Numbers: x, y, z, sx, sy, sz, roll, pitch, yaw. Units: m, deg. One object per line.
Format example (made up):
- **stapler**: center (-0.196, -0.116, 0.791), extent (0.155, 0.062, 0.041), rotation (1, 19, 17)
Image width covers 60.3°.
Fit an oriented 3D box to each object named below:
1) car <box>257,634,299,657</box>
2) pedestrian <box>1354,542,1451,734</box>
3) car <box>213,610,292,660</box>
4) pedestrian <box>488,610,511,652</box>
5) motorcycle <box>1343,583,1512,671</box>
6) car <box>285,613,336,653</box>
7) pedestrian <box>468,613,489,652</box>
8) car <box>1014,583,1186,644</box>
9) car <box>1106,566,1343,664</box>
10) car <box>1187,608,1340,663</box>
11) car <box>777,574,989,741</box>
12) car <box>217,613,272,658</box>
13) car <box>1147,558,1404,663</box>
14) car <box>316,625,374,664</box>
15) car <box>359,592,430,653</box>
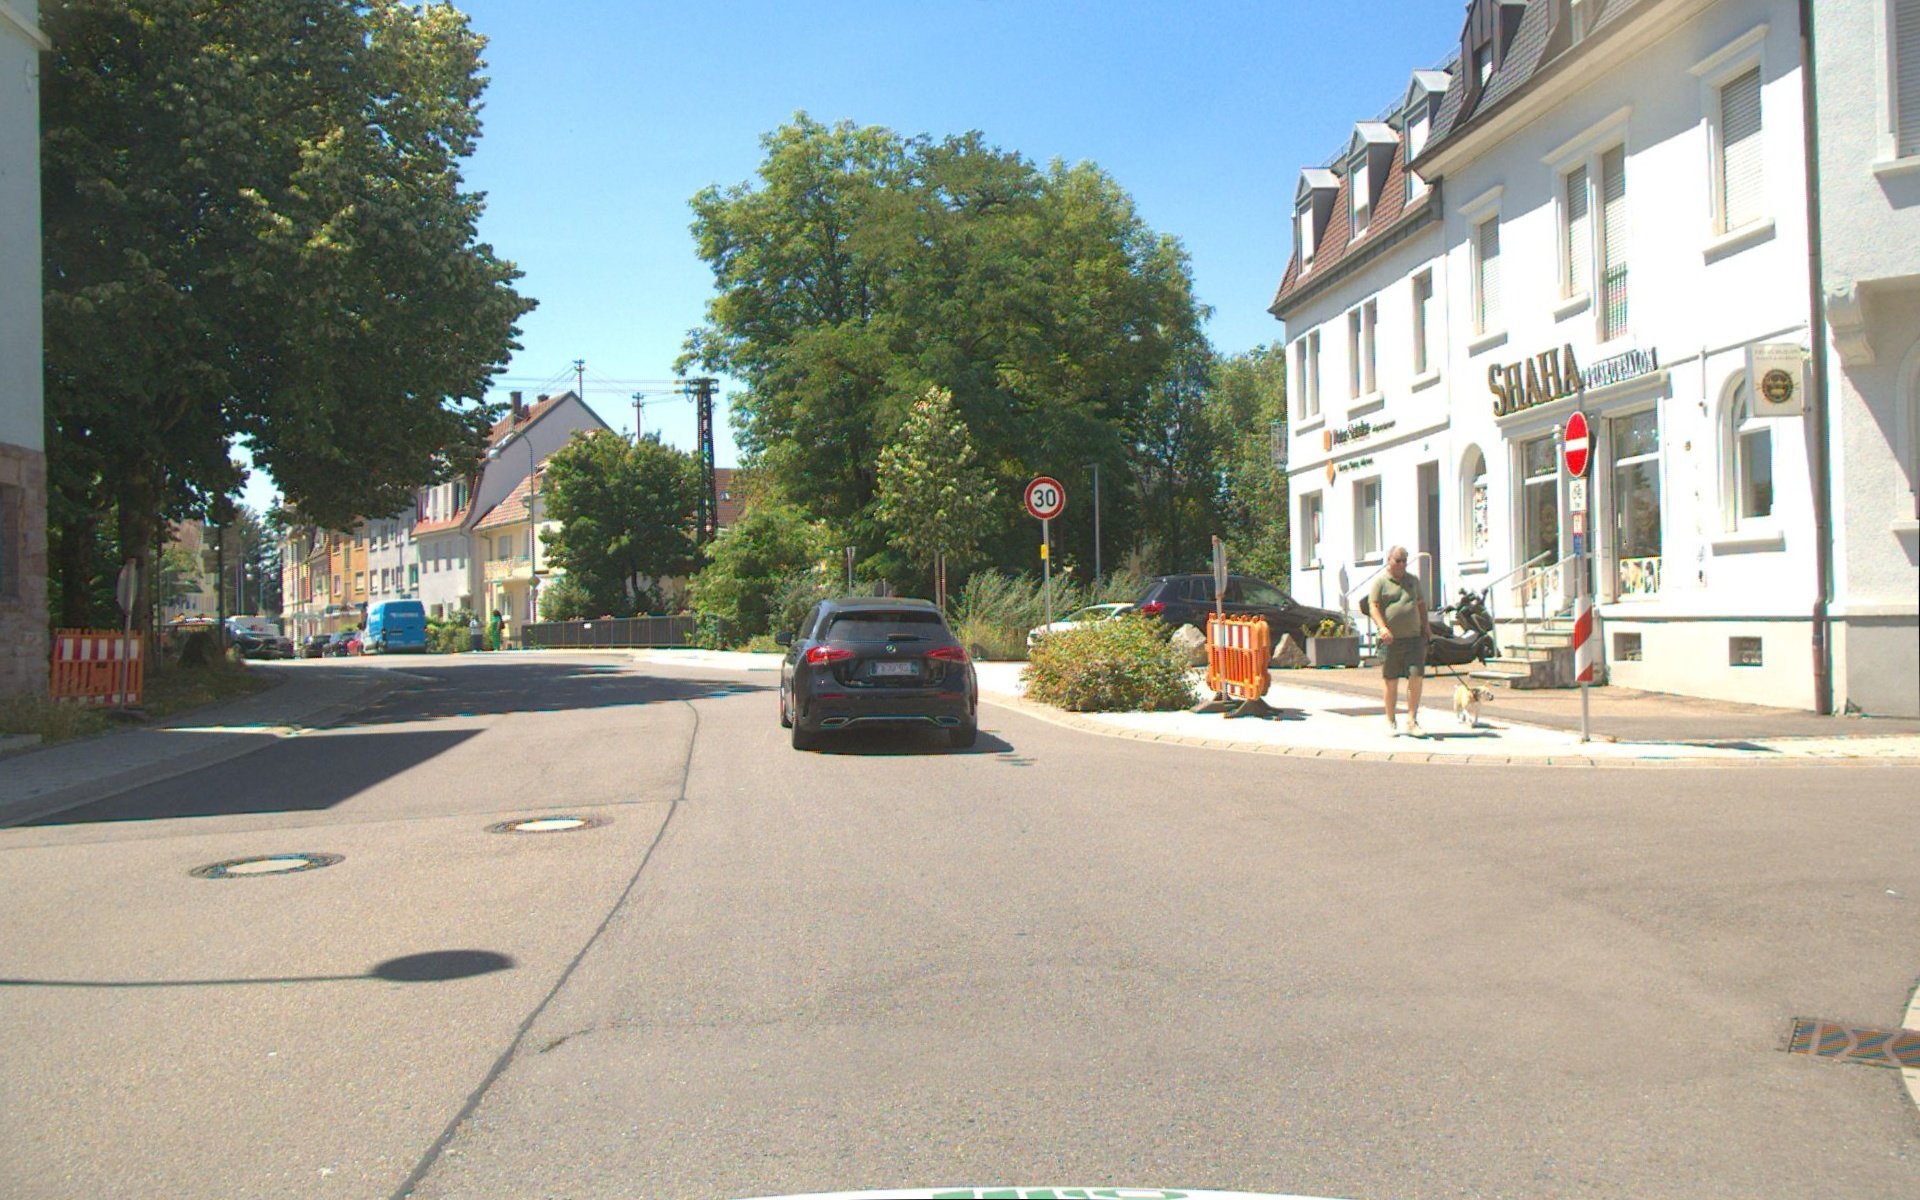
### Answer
- **car**: center (-44.854, 2.997, 108.724), extent (1.973, 1.416, 4.283), rotation (0, 0, -31)
- **pedestrian**: center (4.335, 0.354, 16.244), extent (0.730, 1.827, 0.844), rotation (-1, 1, 2)
- **car**: center (-27.755, 1.370, 64.801), extent (1.730, 1.803, 4.276), rotation (-3, 0, -39)
- **pedestrian**: center (-19.644, 1.305, 70.521), extent (0.689, 1.772, 0.659), rotation (-2, -2, 42)
- **motorcycle**: center (7.104, 0.402, 25.181), extent (2.331, 1.298, 0.855), rotation (0, 0, -6)
- **car**: center (-35.338, 1.768, 89.889), extent (1.973, 2.049, 3.958), rotation (0, 0, -31)
- **pedestrian**: center (-20.688, 1.394, 71.114), extent (0.609, 1.641, 0.827), rotation (0, -1, -35)
- **car**: center (3.465, 0.342, 40.490), extent (4.167, 1.373, 1.832), rotation (1, 1, -42)
- **car**: center (4.848, 0.297, 30.584), extent (3.997, 1.746, 1.853), rotation (0, -1, -7)
- **car**: center (8.281, 0.973, 45.038), extent (4.160, 1.374, 1.834), rotation (1, -3, -39)
- **car**: center (-0.911, 0.613, 17.011), extent (1.793, 1.467, 3.992), rotation (-1, -3, -8)
- **car**: center (-39.623, 1.925, 91.549), extent (2.221, 2.384, 4.802), rotation (0, 0, -30)
- **car**: center (5.376, 0.198, 28.473), extent (3.997, 1.746, 1.853), rotation (0, -1, -7)
- **car**: center (-30.593, 2.227, 82.236), extent (1.973, 1.776, 4.283), rotation (0, -2, -31)
- **car**: center (-24.999, 1.028, 73.036), extent (2.110, 2.586, 4.602), rotation (-1, -1, -30)
